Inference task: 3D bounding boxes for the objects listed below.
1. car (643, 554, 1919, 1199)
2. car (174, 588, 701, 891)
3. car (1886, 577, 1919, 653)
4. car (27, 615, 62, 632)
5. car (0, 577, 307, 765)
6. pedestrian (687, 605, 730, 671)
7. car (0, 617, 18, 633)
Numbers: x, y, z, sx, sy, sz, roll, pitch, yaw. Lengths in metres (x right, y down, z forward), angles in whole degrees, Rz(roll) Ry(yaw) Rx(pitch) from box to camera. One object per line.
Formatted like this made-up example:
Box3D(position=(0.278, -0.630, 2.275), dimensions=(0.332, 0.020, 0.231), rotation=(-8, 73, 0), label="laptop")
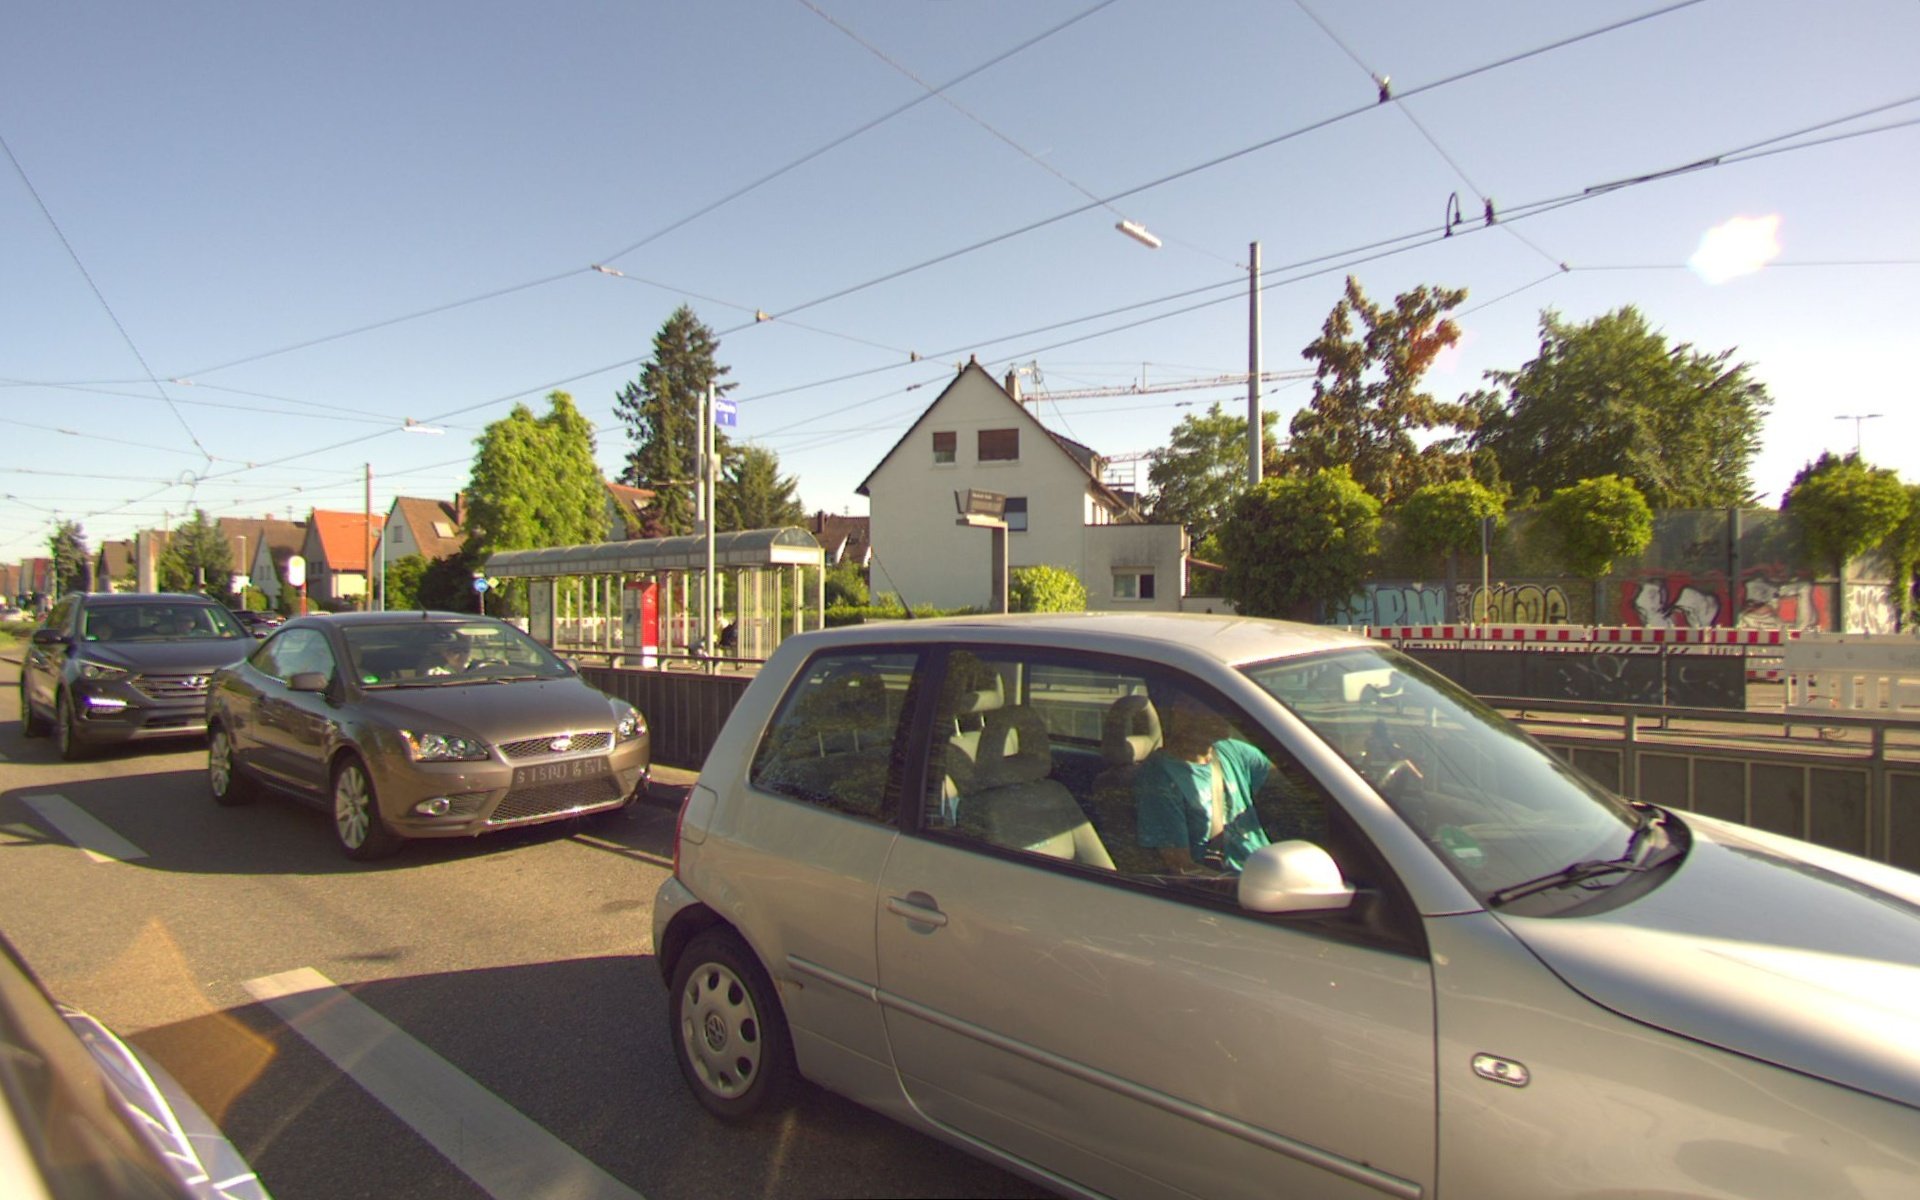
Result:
Box3D(position=(0.893, 0.698, 2.445), dimensions=(3.411, 1.479, 1.565), rotation=(-1, -1, 39), label="car")
Box3D(position=(-3.850, 0.751, 7.162), dimensions=(4.189, 1.546, 1.733), rotation=(-1, -1, 38), label="car")
Box3D(position=(32.164, 0.460, 31.526), dimensions=(2.331, 2.476, 6.826), rotation=(-1, -1, 19), label="car")
Box3D(position=(-85.156, 2.173, 94.122), dimensions=(3.998, 1.475, 1.973), rotation=(-1, -1, 41), label="car")
Box3D(position=(-9.120, 0.681, 11.307), dimensions=(4.296, 1.709, 1.862), rotation=(-1, -1, 40), label="car")
Box3D(position=(-5.578, 0.840, 22.461), dimensions=(0.710, 1.425, 0.616), rotation=(-1, -1, 39), label="pedestrian")
Box3D(position=(-106.382, 2.738, 112.517), dimensions=(3.998, 1.785, 1.973), rotation=(-1, -1, 41), label="car")
